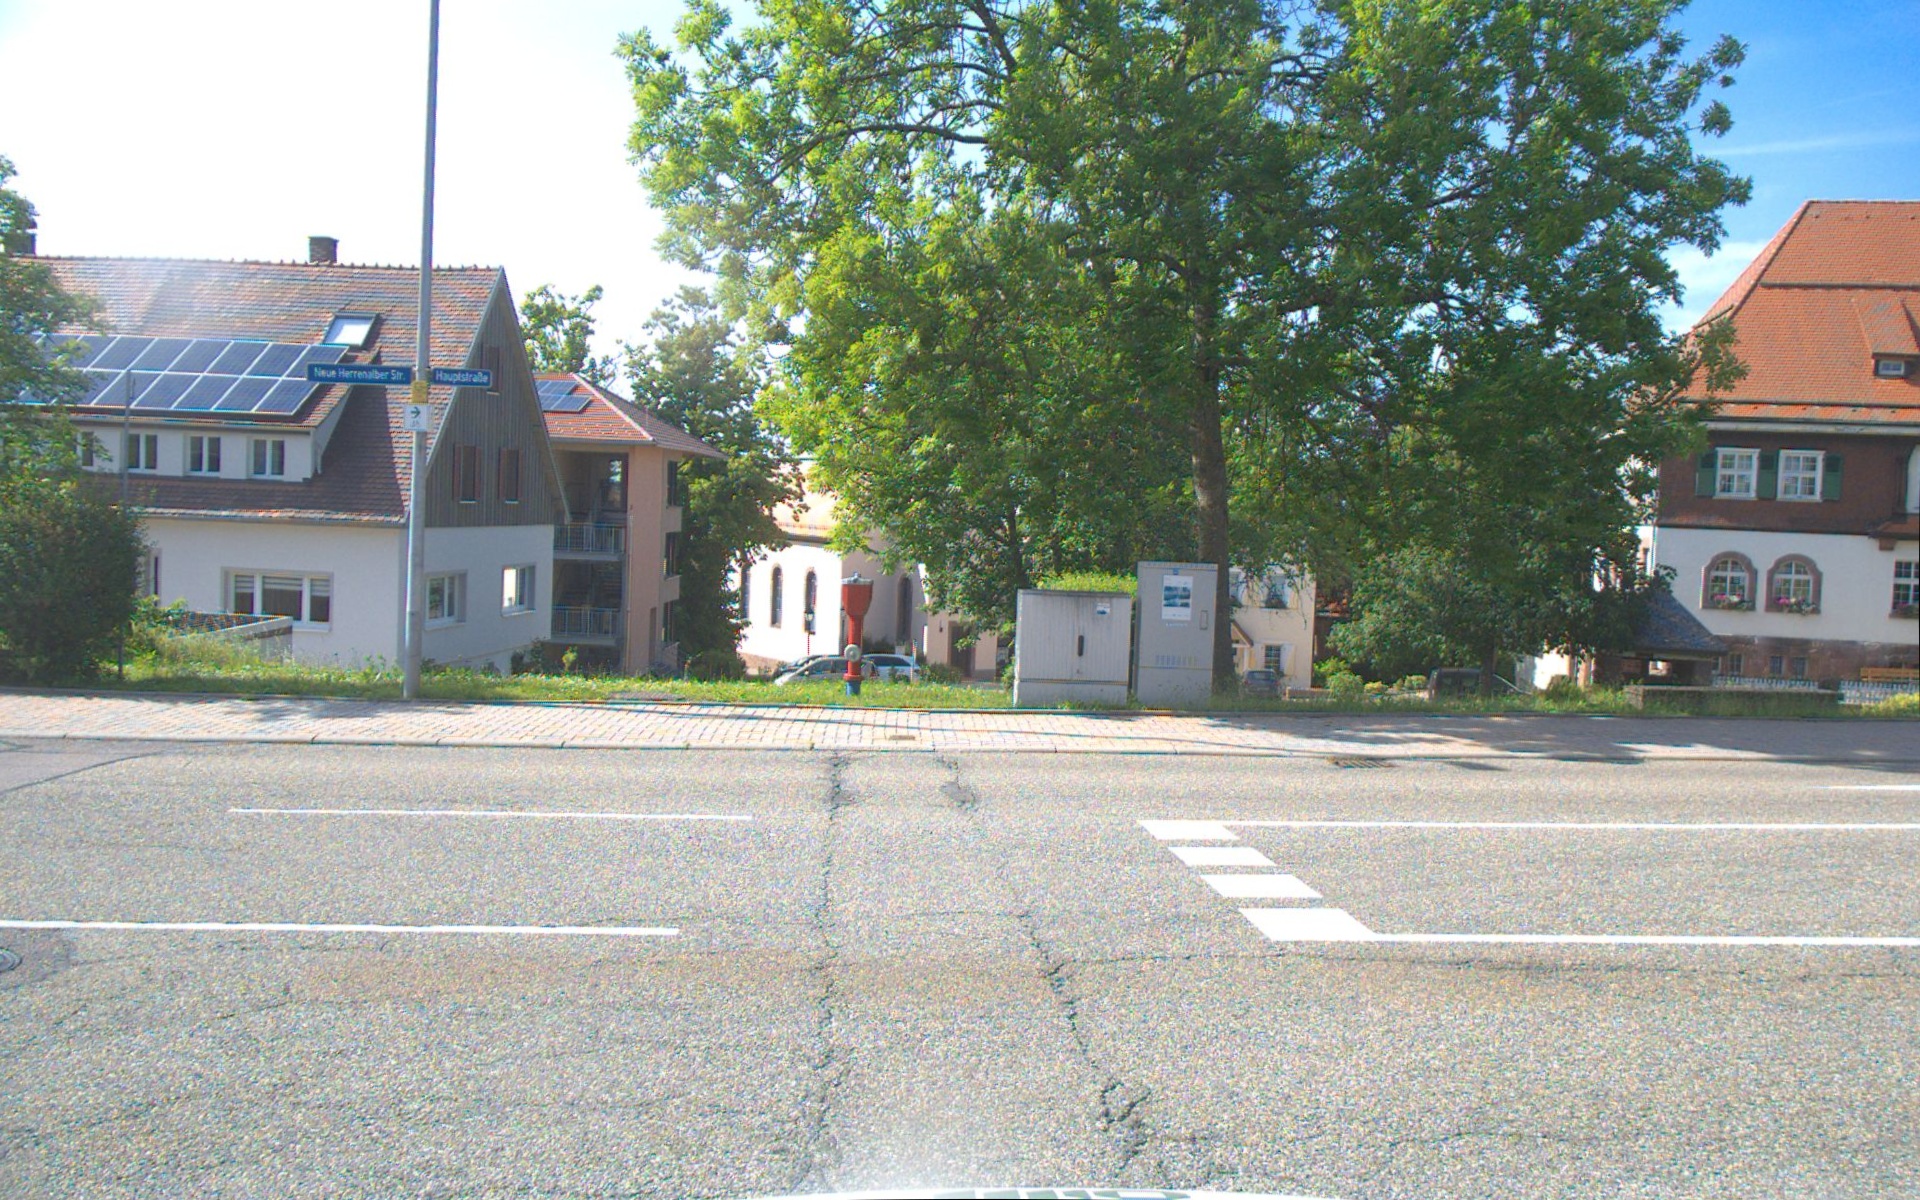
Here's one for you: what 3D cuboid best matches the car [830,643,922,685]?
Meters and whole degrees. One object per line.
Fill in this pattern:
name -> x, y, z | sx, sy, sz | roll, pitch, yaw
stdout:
car -> -3.498, 2.639, 68.364 | 3.700, 1.621, 1.711 | 1, -1, -7

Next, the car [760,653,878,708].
car -> -4.912, 2.787, 57.492 | 4.011, 1.789, 1.711 | 1, -1, -6

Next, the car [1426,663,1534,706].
car -> 19.379, 3.151, 61.765 | 3.692, 1.470, 1.715 | 1, -1, 11

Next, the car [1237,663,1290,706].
car -> 12.428, 3.443, 67.946 | 1.672, 1.569, 3.787 | 1, -1, 3
